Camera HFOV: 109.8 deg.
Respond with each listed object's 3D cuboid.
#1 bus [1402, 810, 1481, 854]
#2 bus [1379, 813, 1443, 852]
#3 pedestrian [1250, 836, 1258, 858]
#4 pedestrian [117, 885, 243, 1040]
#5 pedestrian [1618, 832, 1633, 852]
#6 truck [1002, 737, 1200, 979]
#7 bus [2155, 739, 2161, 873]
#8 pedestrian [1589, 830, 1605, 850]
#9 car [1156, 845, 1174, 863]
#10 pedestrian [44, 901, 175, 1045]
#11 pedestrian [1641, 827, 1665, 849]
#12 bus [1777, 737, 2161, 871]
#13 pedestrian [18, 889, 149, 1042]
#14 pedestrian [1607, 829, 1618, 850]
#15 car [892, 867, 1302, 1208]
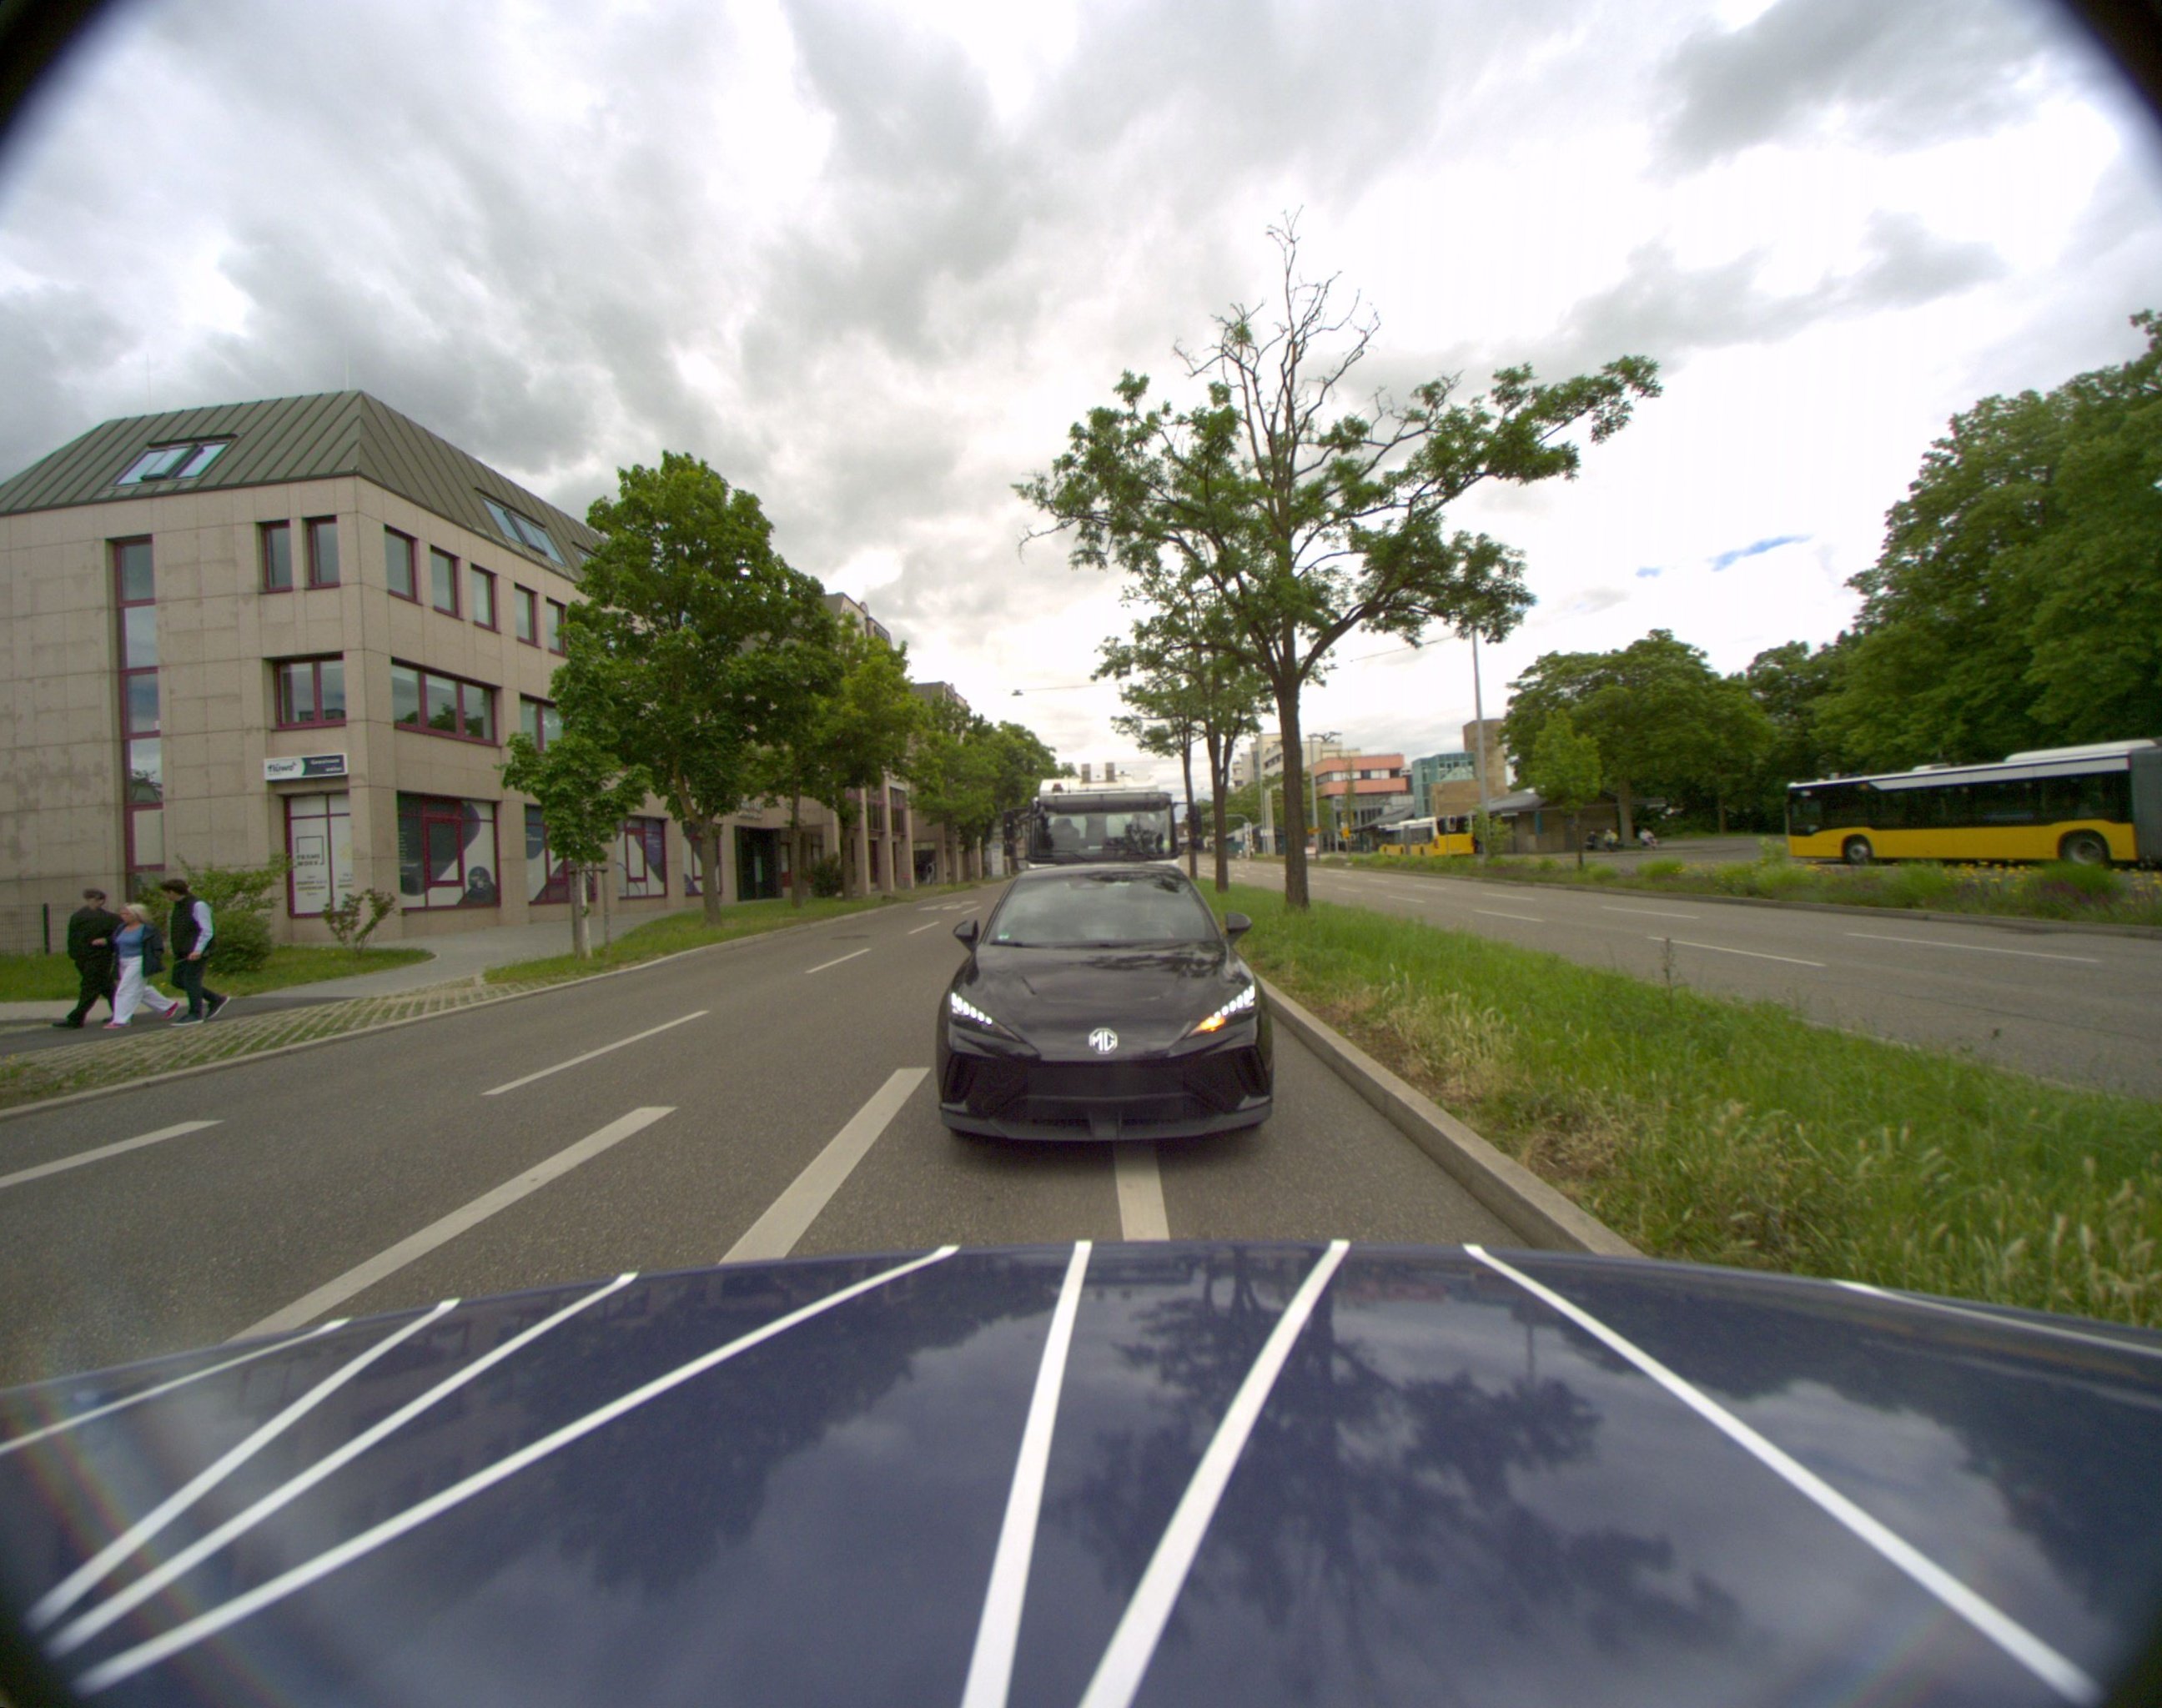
[{"bbox_3d":[26.292,-1.533,55.940,2.887,2.793,9.182,-3,0,10],"label":"bus"},{"bbox_3d":[27.870,-1.737,64.604,2.887,2.985,9.182,-3,0,10],"label":"bus"},{"bbox_3d":[21.688,-0.868,95.265,0.903,2.772,1.148,-2,1,13],"label":"pedestrian"},{"bbox_3d":[-11.144,1.311,9.420,0.642,1.794,0.677,-3,1,1],"label":"pedestrian"},{"bbox_3d":[30.965,-0.688,43.208,0.598,1.155,0.744,-2,1,26],"label":"pedestrian"},{"bbox_3d":[0.335,0.055,14.010,2.544,3.187,7.368,-3,0,1],"label":"truck"},{"bbox_3d":[25.084,-1.108,12.911,2.888,2.985,7.886,-3,0,6],"label":"bus"},{"bbox_3d":[30.957,-0.852,45.550,0.598,1.155,0.743,-2,1,19],"label":"pedestrian"},{"bbox_3d":[9.645,-0.012,87.332,1.726,2.002,4.001,-3,0,3],"label":"car"},{"bbox_3d":[-11.874,1.432,9.312,0.642,1.637,0.677,-3,1,1],"label":"pedestrian"},{"bbox_3d":[32.179,-0.888,42.730,0.650,1.165,0.925,-2,1,1],"label":"pedestrian"},{"bbox_3d":[25.978,-1.194,22.002,2.888,2.985,10.397,-3,0,6],"label":"bus"},{"bbox_3d":[-12.455,1.360,9.506,0.642,1.794,0.677,-3,1,1],"label":"pedestrian"},{"bbox_3d":[30.469,-0.817,43.557,0.367,1.160,0.899,-2,1,27],"label":"pedestrian"},{"bbox_3d":[0.104,0.885,5.509,1.827,1.430,4.000,-3,0,1],"label":"car"}]
